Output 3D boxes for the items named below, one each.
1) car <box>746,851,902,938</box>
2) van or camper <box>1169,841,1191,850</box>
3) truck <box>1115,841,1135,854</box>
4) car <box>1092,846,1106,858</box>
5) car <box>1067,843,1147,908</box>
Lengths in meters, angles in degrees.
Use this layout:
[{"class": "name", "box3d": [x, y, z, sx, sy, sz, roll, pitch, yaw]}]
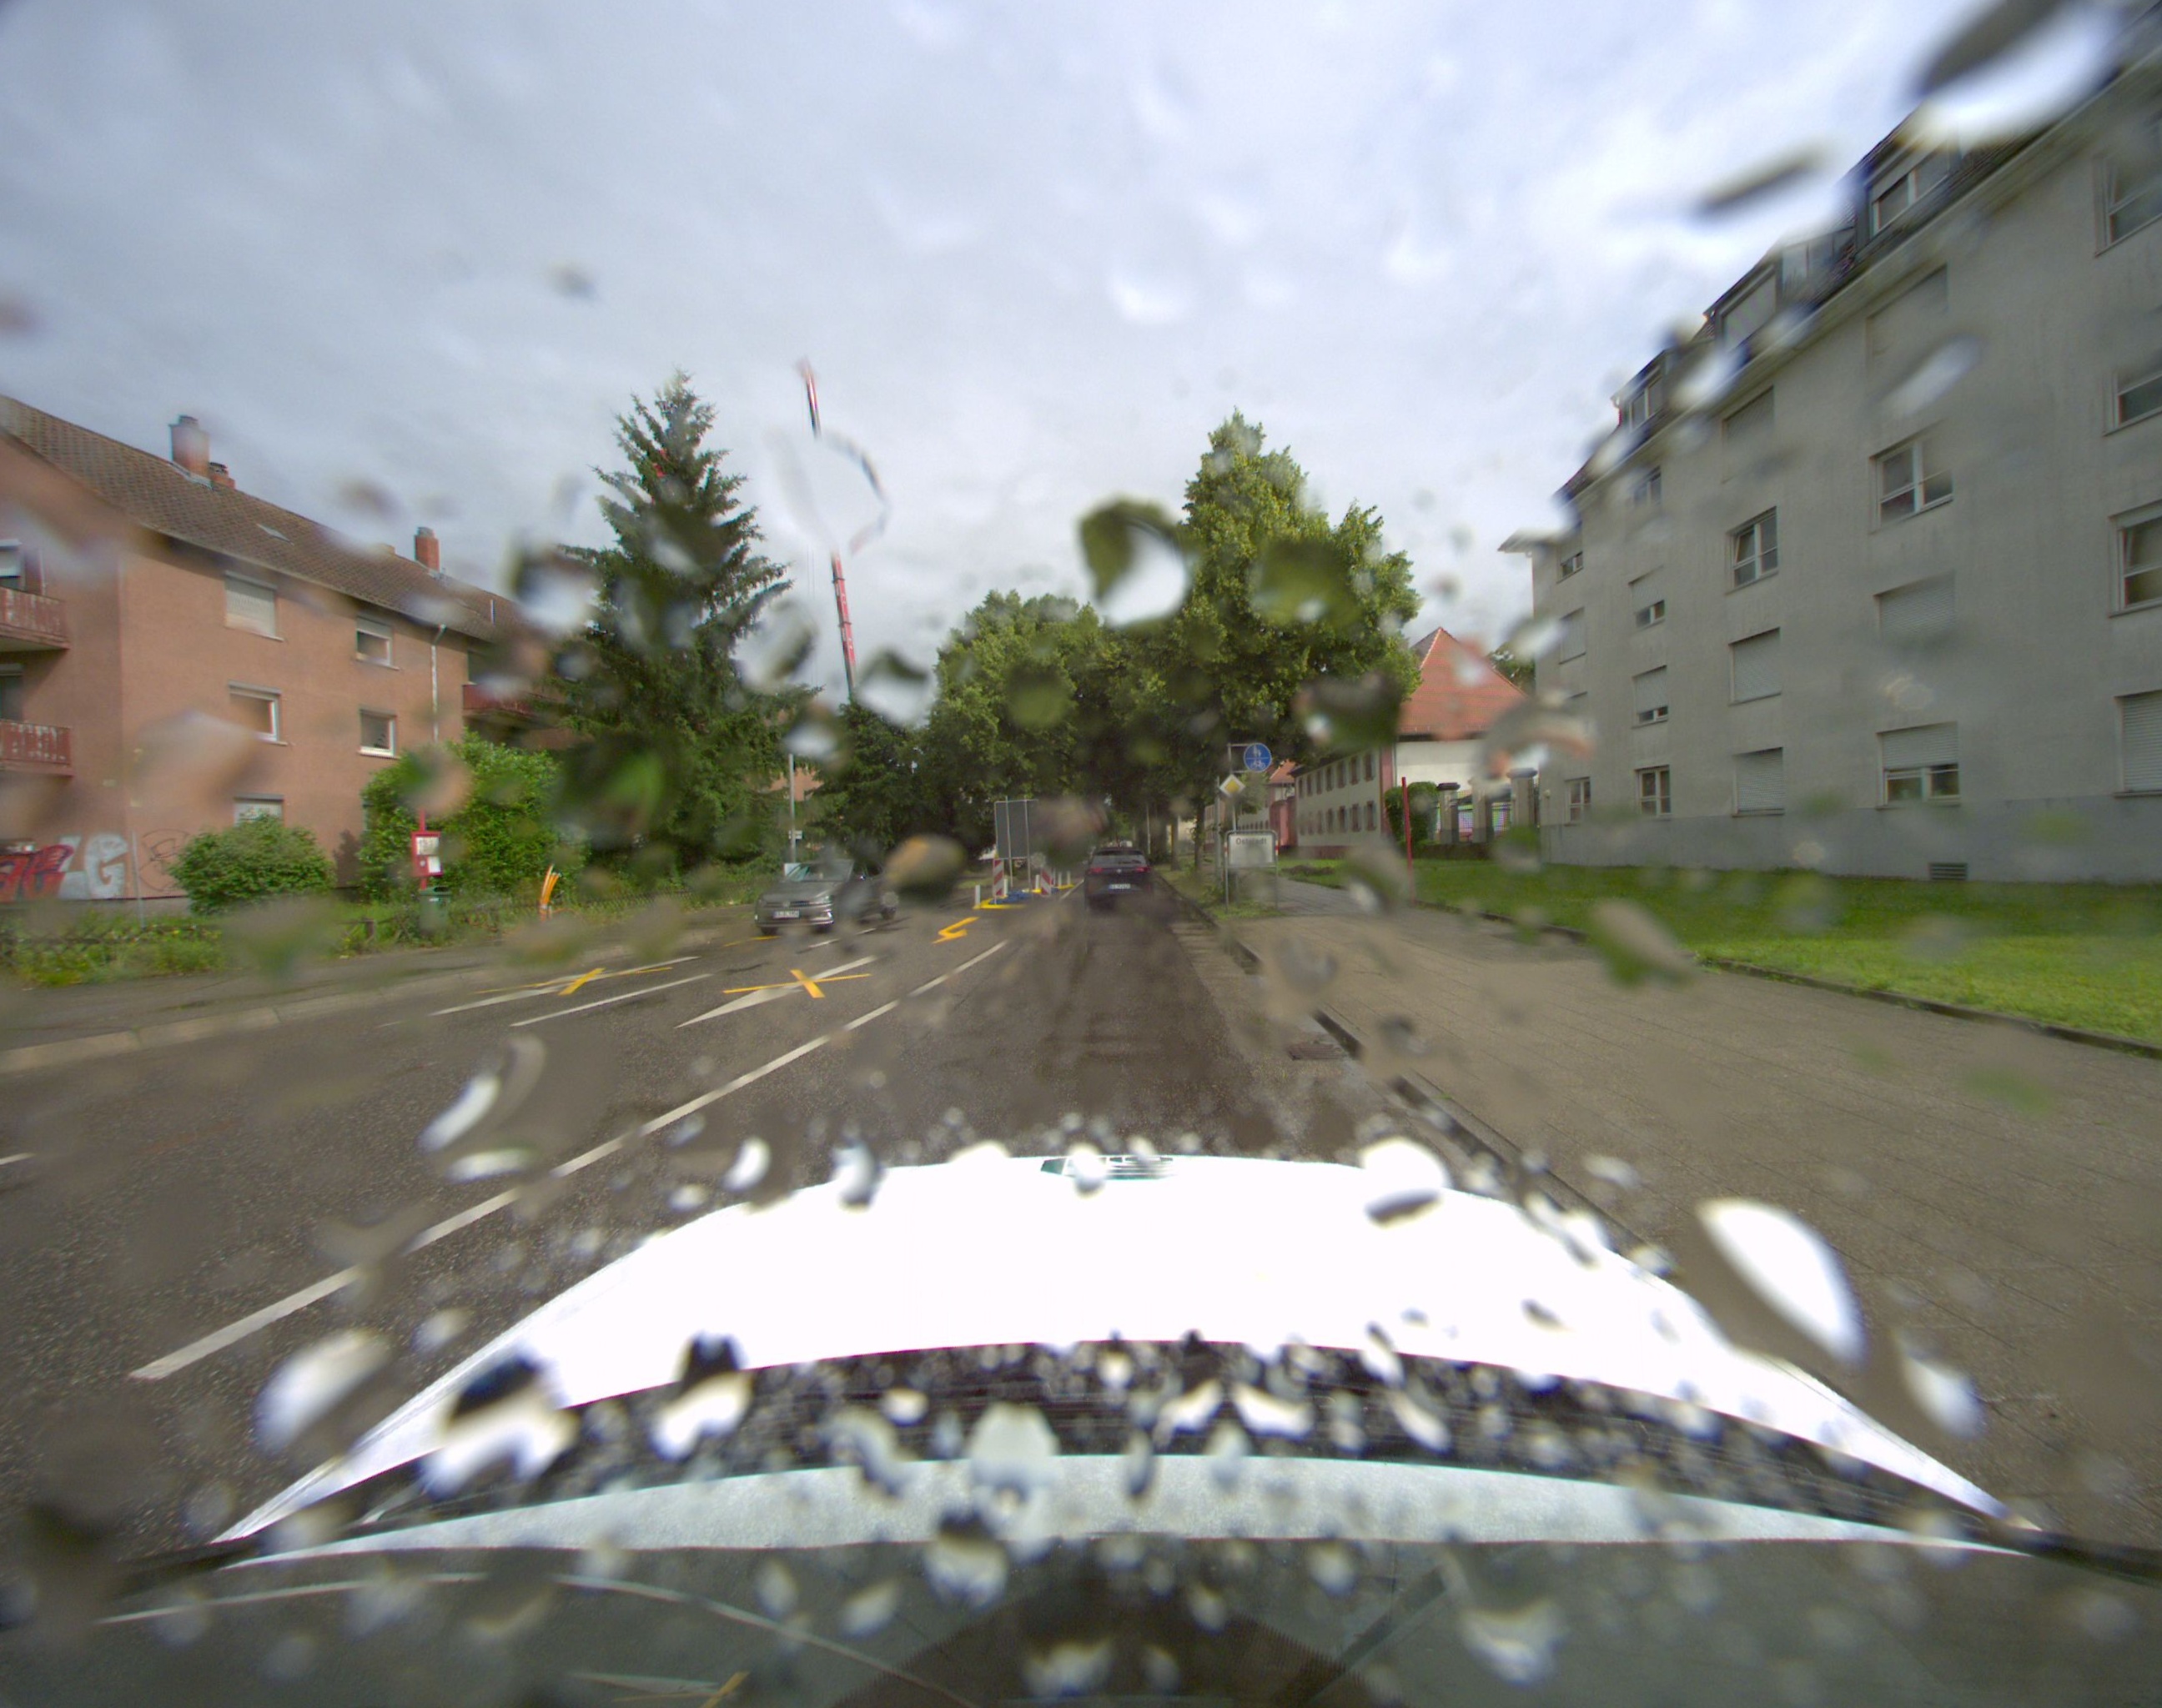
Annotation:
[{"class": "car", "box3d": [-5.214, 0.748, 17.054, 1.671, 1.508, 3.800, -2, 1, 6]}, {"class": "van or camper", "box3d": [22.919, -1.924, 189.205, 4.854, 1.925, 2.133, -1, 1, 3]}, {"class": "truck", "box3d": [9.031, -1.376, 168.536, 2.803, 2.656, 8.220, -2, 1, -7]}, {"class": "car", "box3d": [2.634, -0.323, 118.236, 1.878, 1.713, 4.234, -3, 1, 3]}, {"class": "car", "box3d": [0.769, 0.498, 21.623, 1.886, 1.522, 4.005, -1, 0, 4]}]
